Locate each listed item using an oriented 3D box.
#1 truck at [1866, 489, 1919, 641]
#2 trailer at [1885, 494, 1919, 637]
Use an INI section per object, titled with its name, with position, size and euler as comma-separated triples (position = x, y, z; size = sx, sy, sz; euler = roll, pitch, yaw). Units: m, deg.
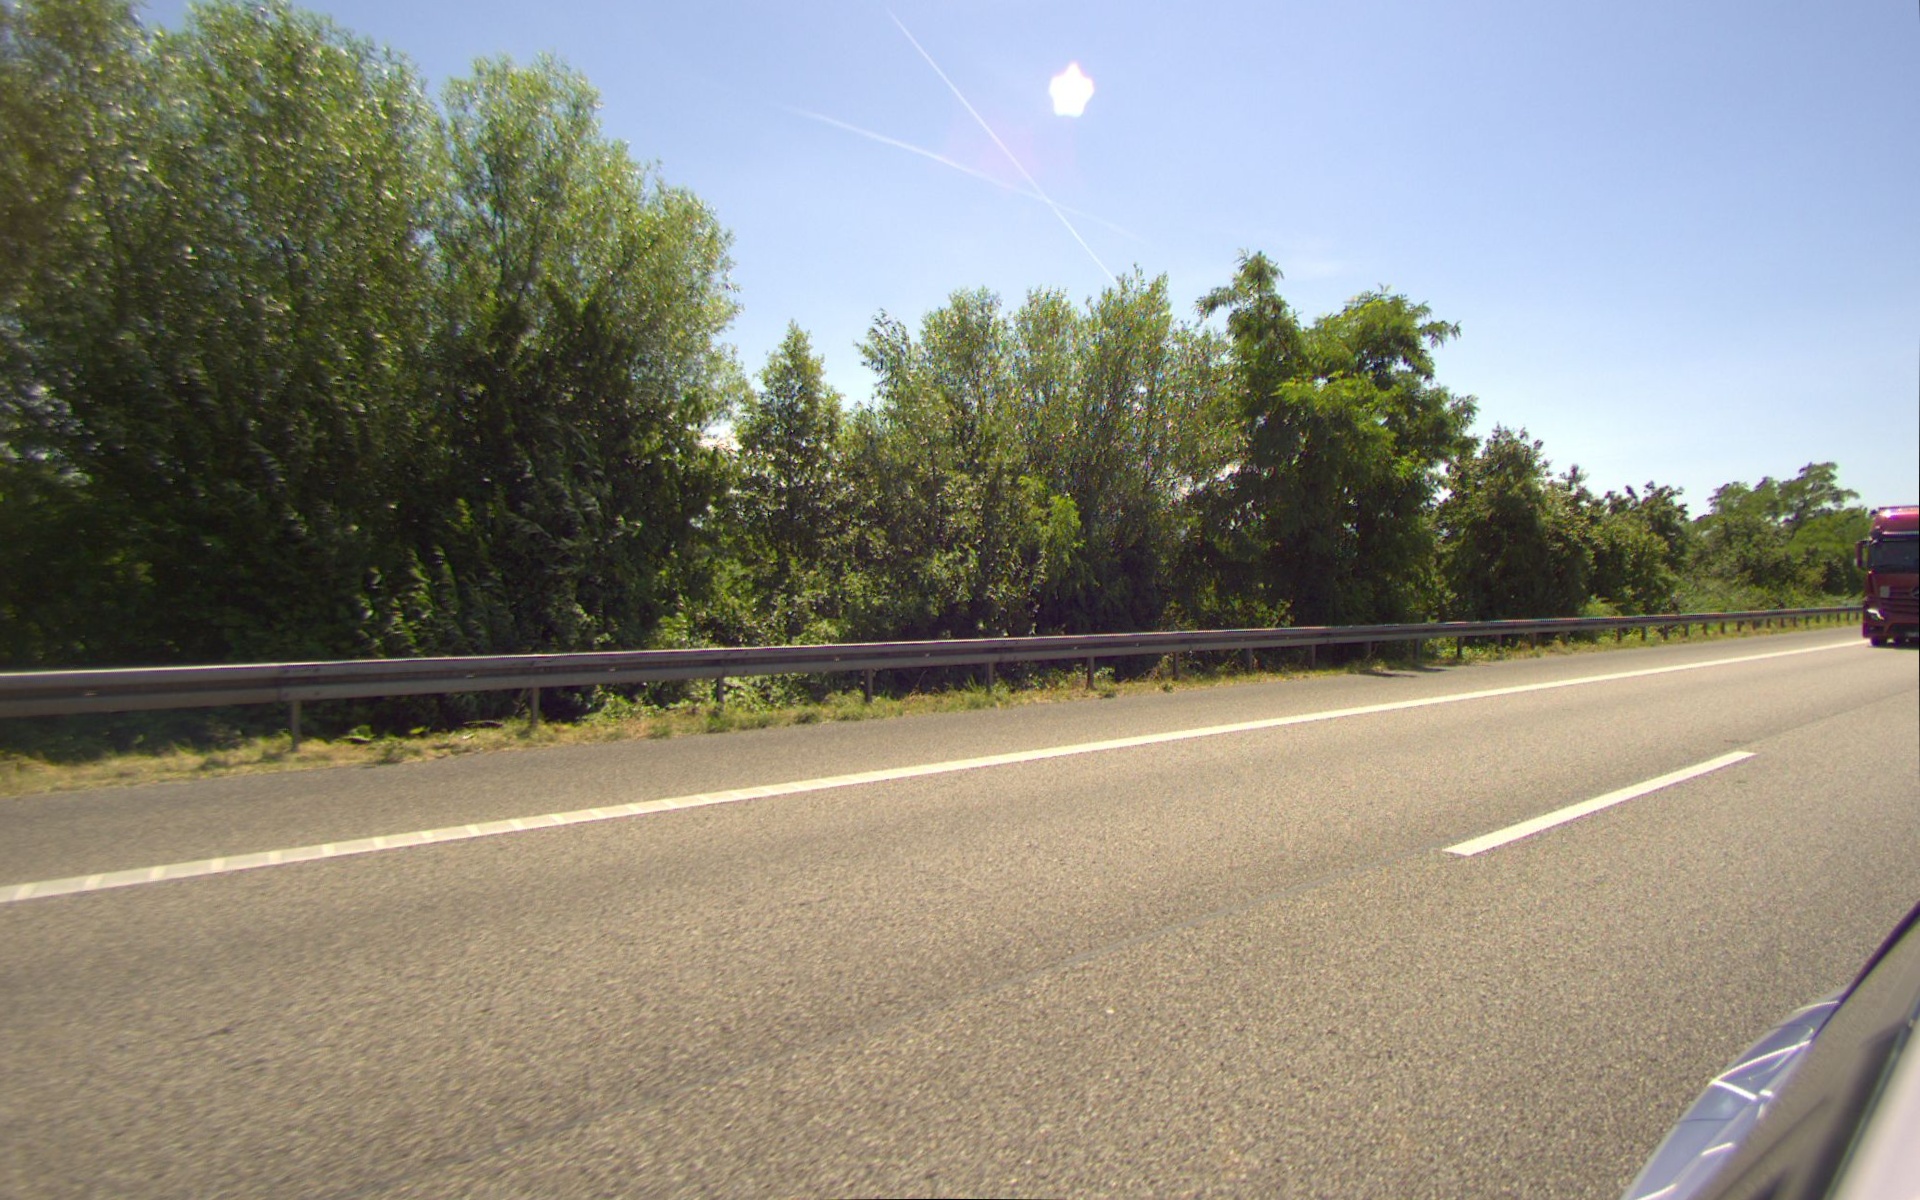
[truck]
position = 29.034, -0.957, 29.419
size = 6.837, 4.138, 2.715
euler = 0, 3, -38
[trailer]
position = 33.595, -0.997, 33.067
size = 13.895, 4.138, 2.715
euler = 0, 3, -39
